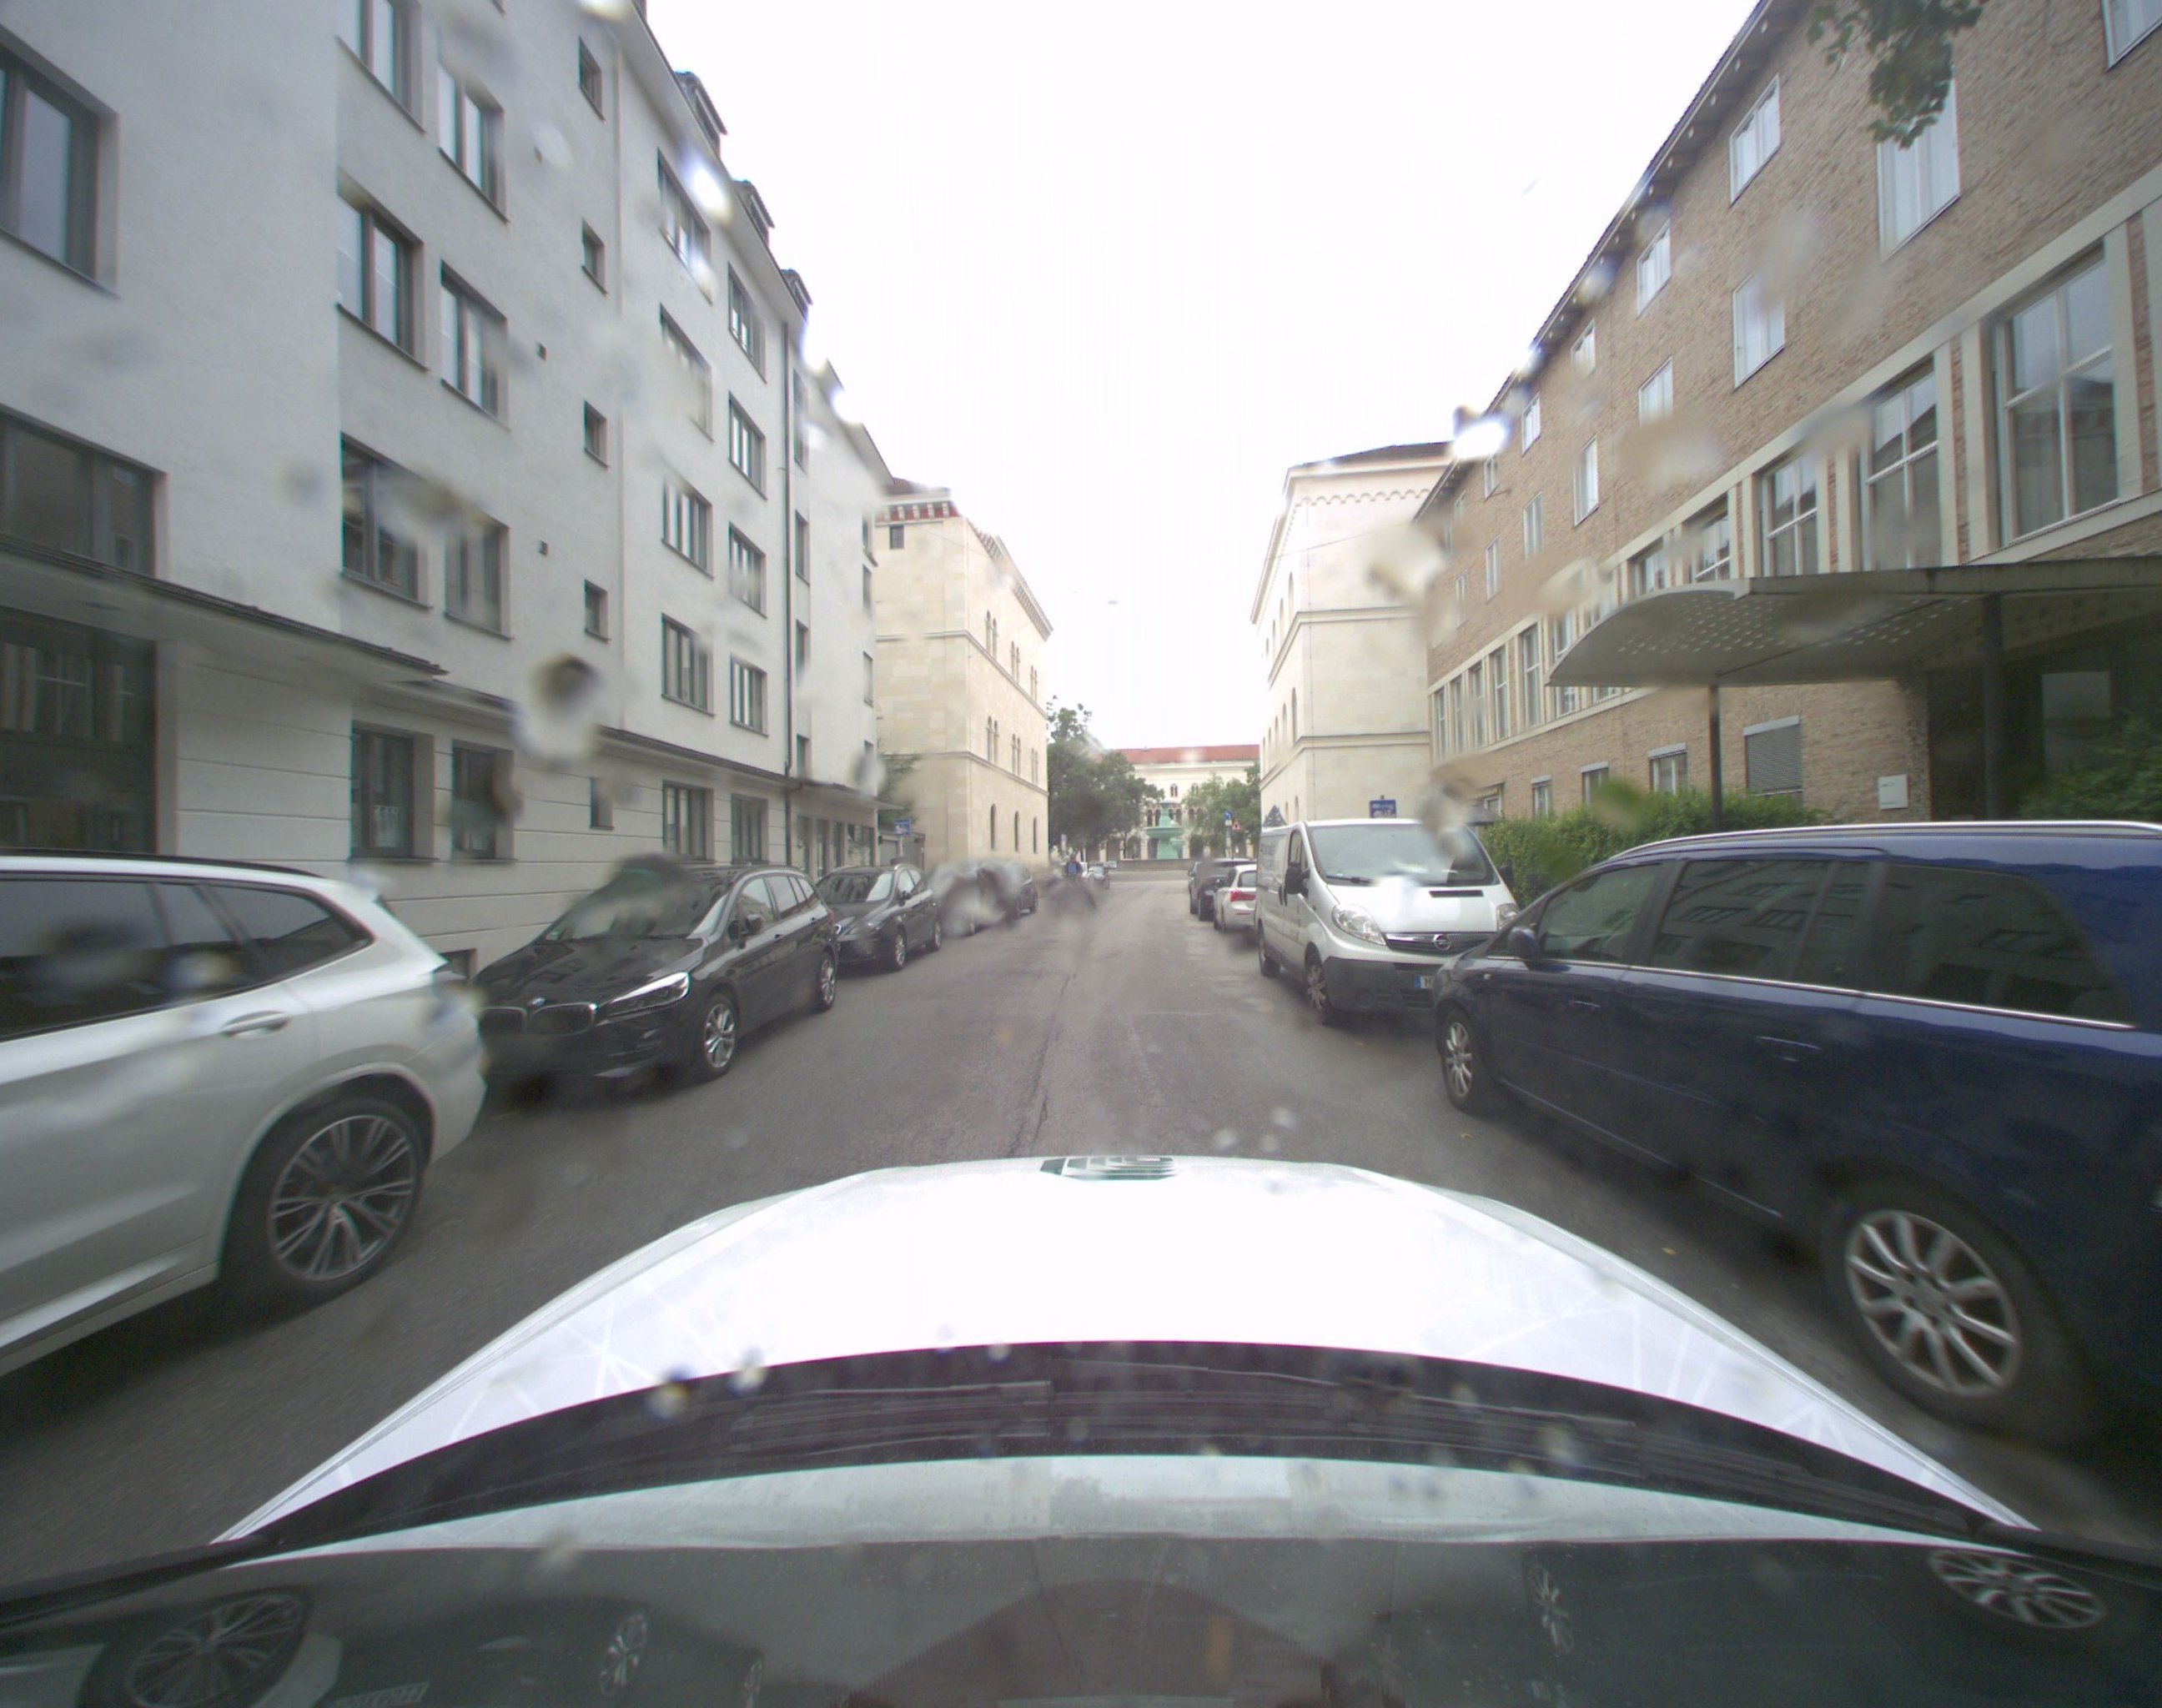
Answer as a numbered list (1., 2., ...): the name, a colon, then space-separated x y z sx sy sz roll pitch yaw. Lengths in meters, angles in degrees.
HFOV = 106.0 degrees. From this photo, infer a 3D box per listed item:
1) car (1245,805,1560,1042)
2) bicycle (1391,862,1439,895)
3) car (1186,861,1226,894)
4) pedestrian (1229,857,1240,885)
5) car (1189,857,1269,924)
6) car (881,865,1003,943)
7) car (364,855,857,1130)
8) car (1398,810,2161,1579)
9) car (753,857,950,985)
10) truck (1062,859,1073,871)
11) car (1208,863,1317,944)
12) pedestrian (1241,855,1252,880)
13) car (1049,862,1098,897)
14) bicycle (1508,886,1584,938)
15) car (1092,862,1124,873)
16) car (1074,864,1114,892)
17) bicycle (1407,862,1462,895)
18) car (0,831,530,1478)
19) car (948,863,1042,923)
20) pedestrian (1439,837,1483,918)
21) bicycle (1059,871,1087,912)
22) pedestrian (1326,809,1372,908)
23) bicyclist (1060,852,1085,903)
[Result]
1. car: 3.118 0.589 9.127 1.874 1.924 4.880 -1 0 4
2. bicycle: 11.285 0.819 27.548 1.422 1.042 0.349 -2 -1 5
3. car: 5.979 1.082 39.080 1.779 1.476 4.322 0 -1 8
4. pedestrian: 10.104 1.137 53.525 0.637 1.808 0.491 -1 -1 12
5. car: 3.805 0.893 21.497 1.739 1.594 3.961 -1 -1 5
6. car: -3.059 1.071 18.788 1.742 1.453 4.021 -3 0 5
7. car: -3.656 0.889 7.542 1.867 1.658 4.588 -3 0 -1
8. car: 3.119 0.704 3.522 1.802 1.600 4.213 -1 0 -1
9. car: -3.509 0.938 13.307 1.865 1.658 4.081 -3 0 2
10. truck: -2.641 2.214 163.477 1.989 2.489 3.995 0 0 -4
11. car: 3.527 0.900 16.502 1.665 1.417 4.208 -1 0 6
12. pedestrian: 10.886 0.894 53.688 0.618 1.681 0.546 0 -1 1
13. car: -0.290 1.188 38.873 1.769 1.535 4.218 -3 -1 6
14. bicycle: 8.381 1.029 14.729 0.515 0.817 1.433 -2 0 -1
15. car: 3.560 1.741 107.593 3.967 1.376 2.003 -1 0 5
16. car: 0.750 1.324 45.056 1.689 1.393 4.220 -3 -1 7
17. bicycle: 11.948 0.820 27.537 1.619 1.042 0.349 -2 -1 11
18. car: -3.744 0.814 1.733 1.865 1.658 4.592 -3 0 1
19. car: -2.364 1.060 23.525 1.741 1.453 4.024 -3 0 7
20. pedestrian: 7.840 0.477 16.830 0.584 1.633 0.879 -1 0 7
21. bicycle: -0.236 1.136 25.405 0.646 1.197 1.952 -2 -1 4
22. pedestrian: 6.105 0.109 18.588 0.790 2.197 0.814 -1 0 1
23. bicyclist: -0.252 0.732 25.359 0.654 1.551 0.888 -2 -1 4
